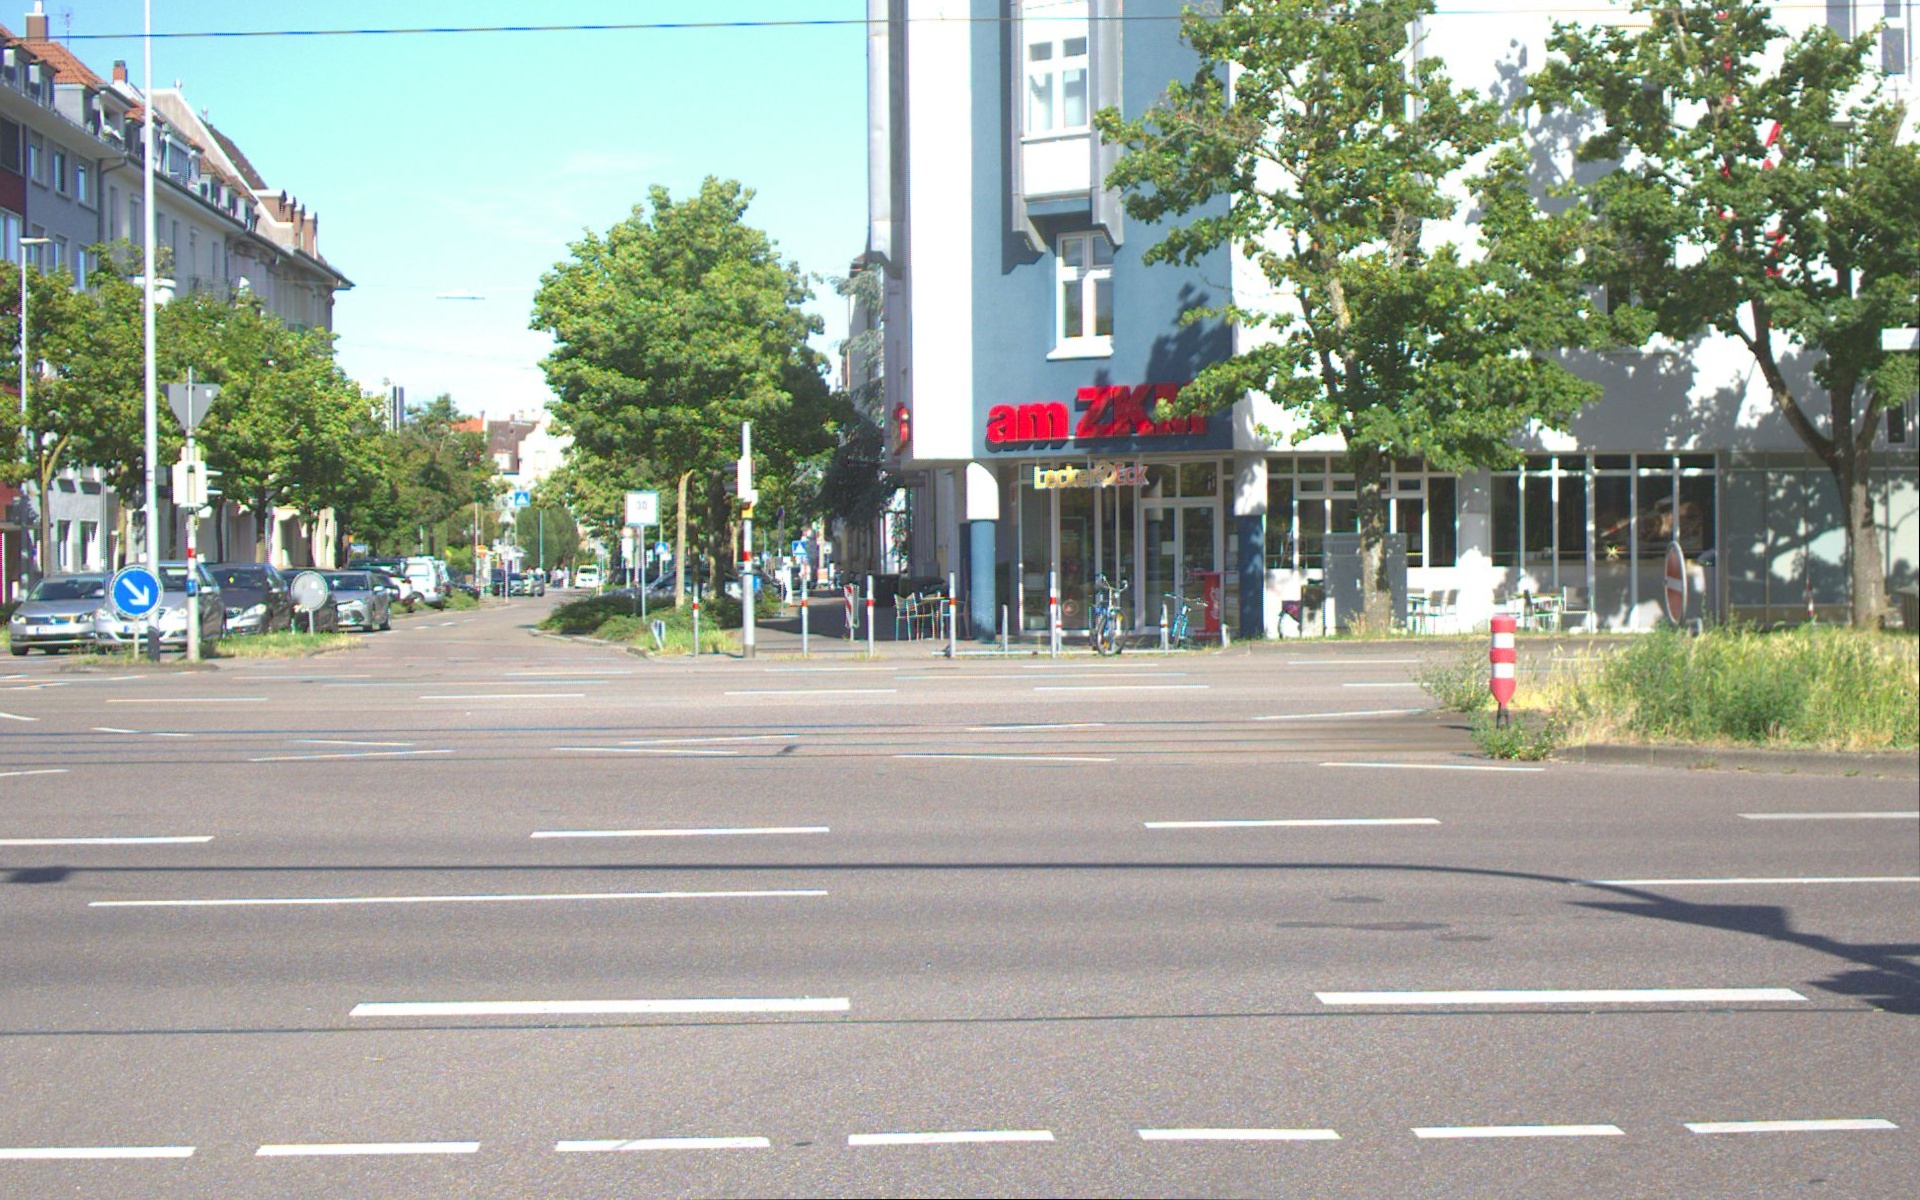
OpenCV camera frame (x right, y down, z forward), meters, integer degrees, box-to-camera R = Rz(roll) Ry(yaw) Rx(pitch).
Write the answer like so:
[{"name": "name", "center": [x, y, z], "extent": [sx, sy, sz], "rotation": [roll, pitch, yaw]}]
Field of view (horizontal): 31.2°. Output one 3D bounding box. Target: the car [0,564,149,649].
[{"name": "car", "center": [-16.172, 0.103, 62.692], "extent": [1.688, 1.427, 4.400], "rotation": [2, 0, 0]}]

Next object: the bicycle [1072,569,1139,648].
[{"name": "bicycle", "center": [1.916, 0.105, 45.471], "extent": [0.471, 1.024, 1.516], "rotation": [-1, 1, -13]}]

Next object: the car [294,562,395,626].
[{"name": "car", "center": [-14.494, -0.150, 81.082], "extent": [1.688, 1.427, 4.400], "rotation": [2, 0, -2]}]

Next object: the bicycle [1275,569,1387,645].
[{"name": "bicycle", "center": [5.165, 0.096, 47.841], "extent": [1.512, 1.024, 0.473], "rotation": [-1, 1, 8]}]

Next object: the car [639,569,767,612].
[{"name": "car", "center": [-7.380, -0.266, 98.428], "extent": [3.566, 1.219, 1.731], "rotation": [0, 0, -7]}]

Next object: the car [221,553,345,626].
[{"name": "car", "center": [-14.172, -0.218, 72.187], "extent": [1.688, 1.427, 4.400], "rotation": [2, 0, 0]}]

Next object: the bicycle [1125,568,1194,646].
[{"name": "bicycle", "center": [2.667, 0.089, 46.016], "extent": [0.471, 1.024, 1.516], "rotation": [-1, 1, -14]}]

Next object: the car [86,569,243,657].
[{"name": "car", "center": [-13.763, 0.205, 59.702], "extent": [1.688, 1.427, 4.400], "rotation": [2, 0, 0]}]

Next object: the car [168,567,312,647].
[{"name": "car", "center": [-13.820, 0.117, 66.187], "extent": [1.688, 1.427, 4.399], "rotation": [2, 0, 2]}]

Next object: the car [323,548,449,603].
[{"name": "car", "center": [-21.496, -0.917, 128.870], "extent": [4.504, 2.007, 2.000], "rotation": [0, 0, -5]}]
